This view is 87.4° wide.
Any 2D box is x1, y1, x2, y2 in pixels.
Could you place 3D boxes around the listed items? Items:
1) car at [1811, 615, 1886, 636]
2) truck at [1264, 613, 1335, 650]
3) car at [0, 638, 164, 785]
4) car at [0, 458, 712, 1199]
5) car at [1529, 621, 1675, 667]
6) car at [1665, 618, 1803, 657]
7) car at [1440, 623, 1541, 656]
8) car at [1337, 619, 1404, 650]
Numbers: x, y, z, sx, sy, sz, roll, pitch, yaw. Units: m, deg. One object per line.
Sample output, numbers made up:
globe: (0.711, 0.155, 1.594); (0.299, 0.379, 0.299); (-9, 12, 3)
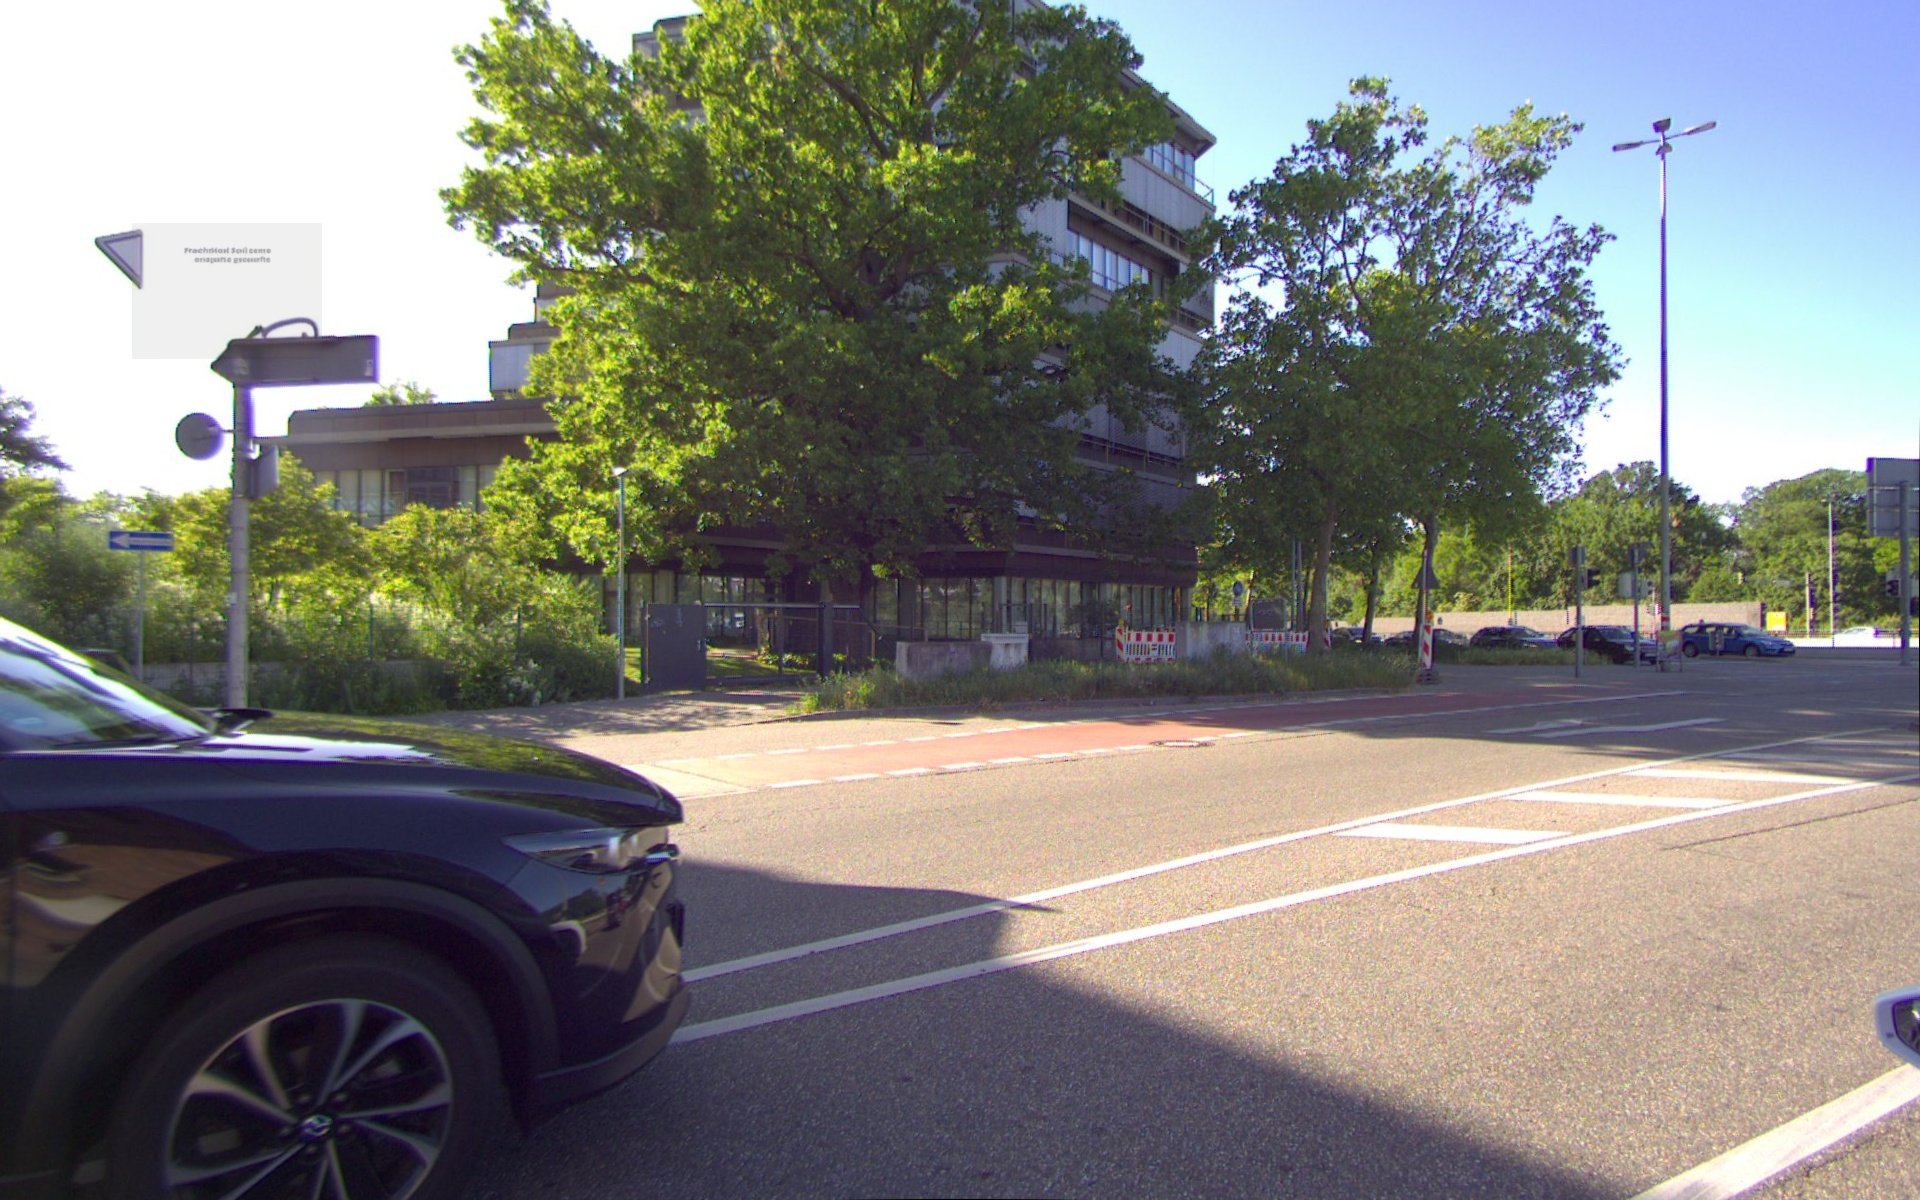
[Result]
car: (68.036, 1.971, 76.974); (1.963, 1.528, 3.995); (0, -1, -8)
truck: (22.965, 2.110, 68.278); (2.121, 2.391, 7.514); (0, -1, -1)
car: (-11.384, 1.257, 10.834); (4.340, 1.528, 1.642); (-1, -3, -38)
car: (-2.854, 0.621, 2.191); (4.150, 1.731, 1.864); (1, -1, -32)
car: (24.685, 1.652, 38.887); (1.918, 1.643, 4.772); (0, -1, -14)
car: (33.268, 1.570, 43.356); (1.920, 1.561, 4.443); (0, -1, -16)
car: (23.624, 1.724, 44.895); (1.844, 1.376, 4.506); (0, -1, -5)
car: (22.992, 1.900, 56.462); (1.843, 1.666, 4.509); (0, -1, -1)
